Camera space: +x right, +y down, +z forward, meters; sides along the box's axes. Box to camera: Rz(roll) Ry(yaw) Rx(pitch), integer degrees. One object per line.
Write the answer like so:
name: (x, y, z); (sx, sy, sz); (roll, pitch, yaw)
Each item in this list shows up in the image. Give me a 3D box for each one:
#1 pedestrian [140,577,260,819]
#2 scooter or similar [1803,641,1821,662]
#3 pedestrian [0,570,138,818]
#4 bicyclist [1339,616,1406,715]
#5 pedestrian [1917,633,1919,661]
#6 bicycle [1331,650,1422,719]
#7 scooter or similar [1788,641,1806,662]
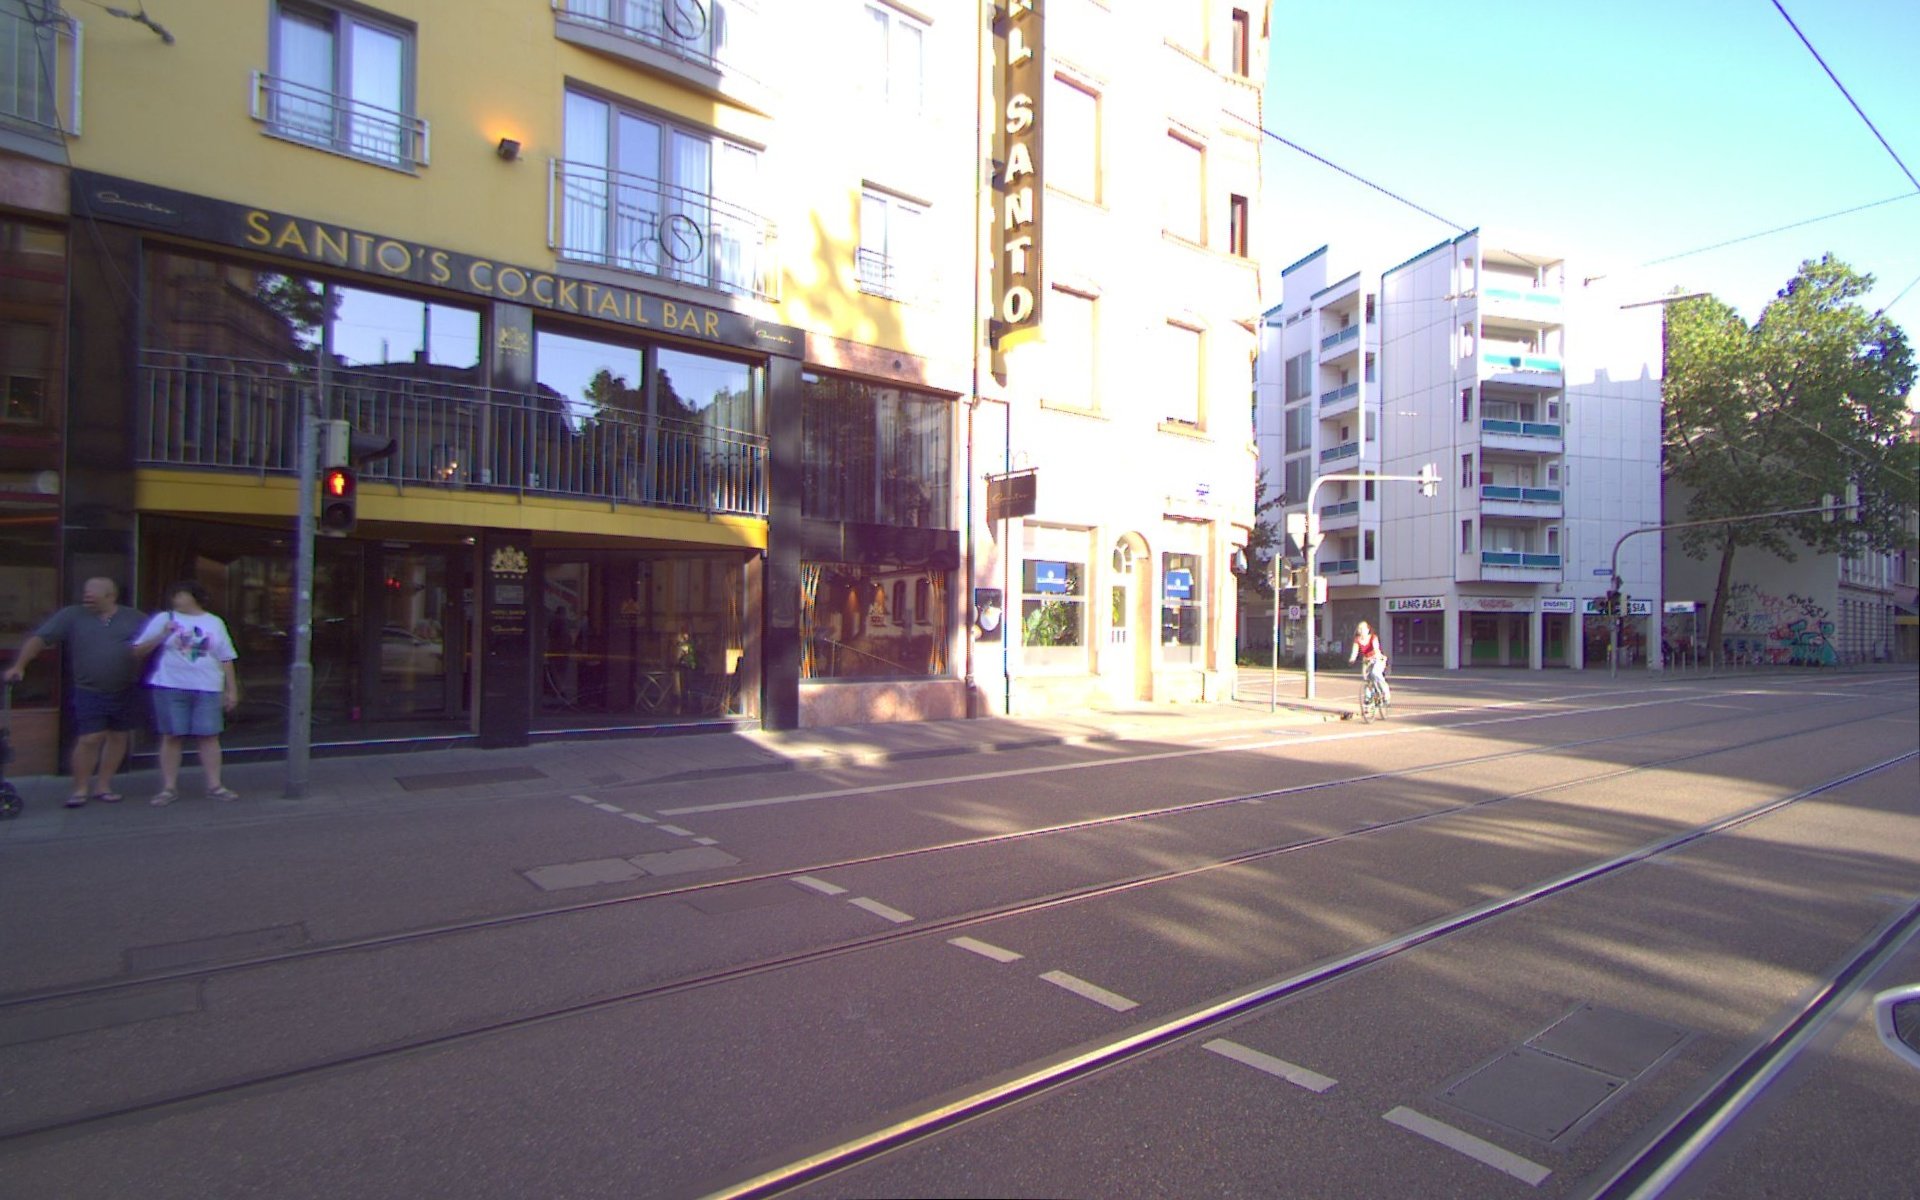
pedestrian: (-6.402, 0.763, 8.455); (0.747, 1.843, 1.034); (1, 3, -39)
scooter or similar: (44.956, 2.727, 52.989); (1.466, 1.071, 0.512); (2, -2, -41)
pedestrian: (-6.977, 0.689, 7.878); (0.793, 1.795, 0.741); (1, 3, -39)
bicyclist: (7.174, 1.122, 17.453); (0.982, 1.665, 0.696); (2, -2, -39)
pedestrian: (59.935, 2.915, 62.362); (0.642, 1.751, 0.696); (2, -2, -38)
bicycle: (7.306, 1.444, 17.565); (1.882, 1.124, 0.691); (2, -2, -40)
scooter or similar: (44.542, 2.735, 53.472); (1.466, 1.059, 0.512); (2, -2, -41)
